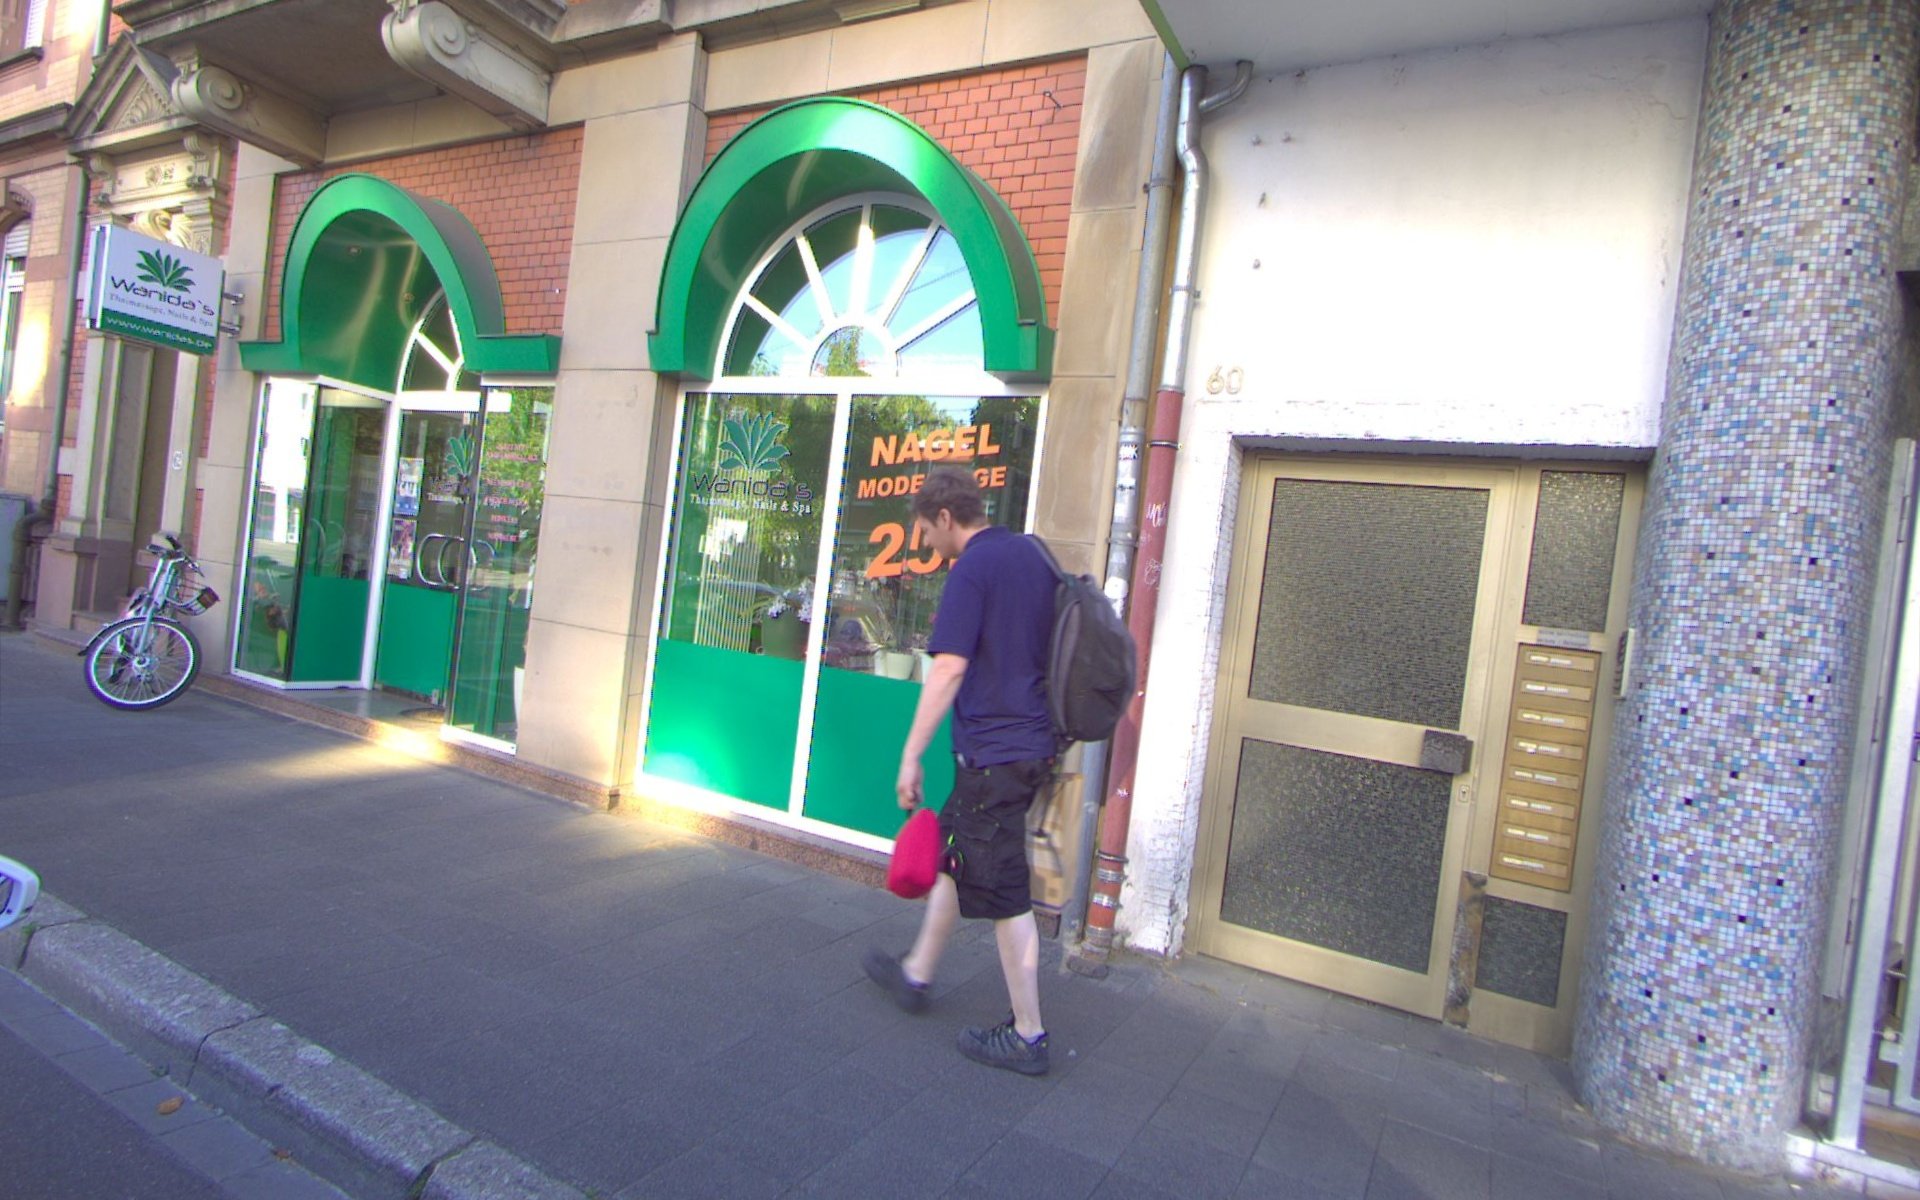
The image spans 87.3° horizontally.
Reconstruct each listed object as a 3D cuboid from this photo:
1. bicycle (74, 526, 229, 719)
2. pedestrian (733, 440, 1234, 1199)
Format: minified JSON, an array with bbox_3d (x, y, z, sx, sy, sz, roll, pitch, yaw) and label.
[{"bbox_3d":[-5.784,0.126,7.160,0.712,1.167,1.635,4,2,-42],"label":"bicycle"},{"bbox_3d":[0.108,0.521,3.077,1.036,1.816,0.947,7,2,28],"label":"pedestrian"}]
